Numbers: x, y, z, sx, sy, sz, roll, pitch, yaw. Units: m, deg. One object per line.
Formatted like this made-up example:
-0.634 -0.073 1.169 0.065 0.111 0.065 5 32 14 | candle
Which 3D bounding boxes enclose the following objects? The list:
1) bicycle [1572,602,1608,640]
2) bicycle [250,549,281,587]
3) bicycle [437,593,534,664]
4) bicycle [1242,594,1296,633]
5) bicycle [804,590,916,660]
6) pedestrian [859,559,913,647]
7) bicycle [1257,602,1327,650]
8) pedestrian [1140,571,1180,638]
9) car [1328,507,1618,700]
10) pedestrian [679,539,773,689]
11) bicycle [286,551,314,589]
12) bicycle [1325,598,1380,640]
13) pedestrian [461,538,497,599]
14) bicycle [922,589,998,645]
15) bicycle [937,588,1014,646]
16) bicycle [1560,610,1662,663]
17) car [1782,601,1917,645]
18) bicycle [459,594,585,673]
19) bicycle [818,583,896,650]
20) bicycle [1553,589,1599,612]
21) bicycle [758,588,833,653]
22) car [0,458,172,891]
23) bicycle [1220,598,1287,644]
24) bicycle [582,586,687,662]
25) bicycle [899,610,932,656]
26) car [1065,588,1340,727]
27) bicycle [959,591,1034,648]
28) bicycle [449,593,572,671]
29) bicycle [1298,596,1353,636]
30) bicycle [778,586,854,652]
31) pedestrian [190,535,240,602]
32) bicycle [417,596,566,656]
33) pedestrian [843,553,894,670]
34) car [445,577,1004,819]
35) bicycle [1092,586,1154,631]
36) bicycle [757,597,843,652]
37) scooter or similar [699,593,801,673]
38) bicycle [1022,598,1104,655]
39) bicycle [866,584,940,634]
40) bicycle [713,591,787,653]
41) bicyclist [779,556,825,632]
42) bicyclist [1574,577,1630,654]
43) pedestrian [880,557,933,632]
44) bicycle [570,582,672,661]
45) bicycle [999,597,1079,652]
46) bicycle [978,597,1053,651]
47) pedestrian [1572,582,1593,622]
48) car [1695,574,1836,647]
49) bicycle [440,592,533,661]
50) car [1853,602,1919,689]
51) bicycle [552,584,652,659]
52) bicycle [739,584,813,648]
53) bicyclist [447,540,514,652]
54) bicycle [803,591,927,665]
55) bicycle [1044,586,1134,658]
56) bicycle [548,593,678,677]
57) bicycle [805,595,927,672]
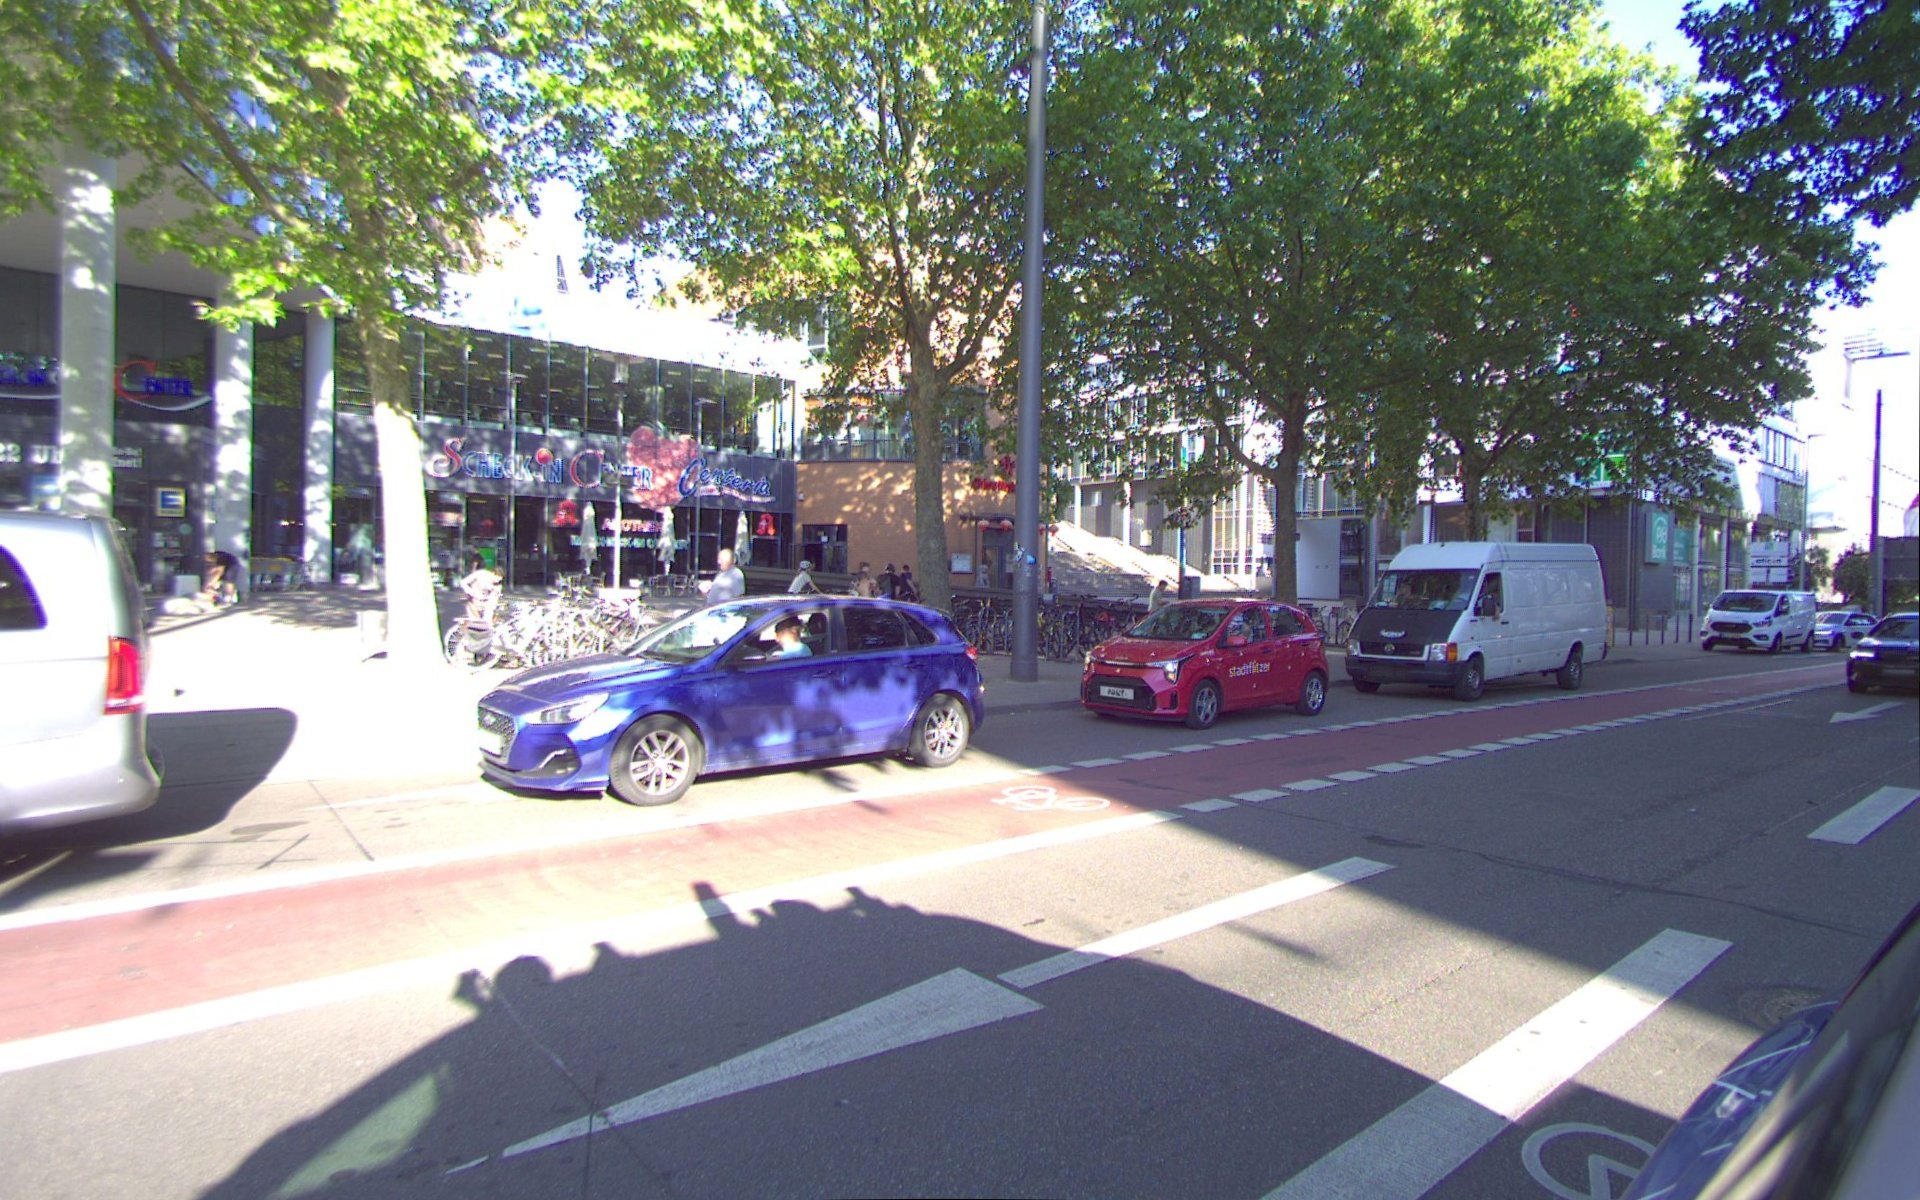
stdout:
20.413 0.670 32.788 1.511 1.173 0.514 0 1 -39 | bicycle
-21.717 -0.994 31.670 0.705 1.142 1.921 1 1 -32 | bicycle
-7.169 0.423 15.323 1.293 1.038 0.397 1 1 -24 | bicycle
8.732 0.379 28.547 1.624 1.060 0.597 0 1 -37 | bicycle
-1.692 0.422 17.022 1.788 1.130 0.598 1 1 -13 | bicycle
-1.530 0.044 20.884 0.756 1.779 0.820 1 1 -35 | pedestrian
7.638 0.581 23.255 1.622 1.060 0.598 0 1 -32 | bicycle
5.021 0.111 25.426 0.623 1.651 0.719 1 1 -34 | pedestrian
8.966 0.050 17.330 6.443 2.759 1.998 0 0 -39 | car
-2.974 0.153 12.833 0.872 1.808 0.796 2 1 44 | pedestrian
-20.963 -0.961 32.184 0.705 1.142 1.921 1 1 -32 | bicycle
10.480 0.500 27.008 1.624 1.060 0.597 0 1 -37 | bicycle
-15.216 -0.986 32.012 0.834 1.867 1.002 1 1 -15 | pedestrian
0.010 0.353 21.789 1.662 1.174 0.479 0 1 -37 | bicycle
0.340 0.354 21.342 1.662 1.174 0.479 0 1 -37 | bicycle
14.903 0.836 23.170 2.083 1.135 0.552 1 1 -8 | bicycle
31.422 0.819 35.755 3.936 1.437 1.791 1 1 -18 | car
-6.080 0.443 14.105 1.546 1.038 0.461 0 1 -44 | bicycle
-1.859 0.280 18.393 0.478 1.174 1.455 2 1 41 | bicycle
32.076 0.017 52.703 0.687 1.076 1.879 0 2 -38 | bicycle
-3.073 0.368 19.020 0.420 1.174 1.455 2 1 41 | bicycle
-6.498 0.339 4.181 5.047 1.991 1.997 0 0 -41 | car
7.075 0.486 24.358 1.622 1.060 0.598 0 1 -32 | bicycle
-4.897 0.347 15.280 1.451 1.095 0.421 0 1 -42 | bicycle
-0.812 0.587 18.330 0.391 0.770 1.114 1 1 -13 | bicycle
3.102 0.612 12.612 3.558 1.482 1.561 0 1 -41 | car
0.769 0.390 21.083 1.626 1.151 0.503 0 1 -41 | bicycle
-6.410 0.432 14.483 1.546 1.038 0.461 0 1 -44 | bicycle
10.051 0.432 27.805 1.624 1.060 0.597 0 1 -37 | bicycle
-2.649 0.329 18.740 0.420 1.174 1.455 2 1 41 | bicycle
-19.075 -0.795 25.914 0.951 1.661 0.865 0 1 -41 | pedestrian
-7.692 0.424 16.706 2.138 0.945 0.669 1 1 -13 | bicycle
-1.456 0.171 16.009 0.644 1.808 0.810 1 1 -14 | pedestrian
-1.755 0.593 8.337 4.143 1.482 1.768 0 2 -41 | car
4.342 0.215 26.900 1.622 1.140 0.598 0 1 -32 | bicycle
-3.486 0.524 22.125 1.743 1.140 0.568 0 1 -31 | bicycle
-3.229 0.496 15.568 1.249 1.156 0.905 -2 0 37 | scooter or similar
2.005 0.487 19.571 1.626 1.044 0.596 0 1 -41 | bicycle
-1.391 0.207 24.759 1.735 1.174 0.579 0 1 -34 | bicycle
-4.107 0.410 19.849 0.420 1.174 1.455 2 1 41 | bicycle
-3.452 -0.140 22.124 0.805 1.636 0.564 1 1 -30 | bicyclist
14.680 0.351 23.158 0.700 1.709 0.754 1 1 -9 | bicyclist
-1.317 -0.141 24.776 1.000 1.779 0.789 1 1 -35 | pedestrian
-5.297 0.318 15.850 1.451 1.174 0.421 0 1 -42 | bicycle
1.579 0.467 20.089 1.626 1.044 0.596 0 1 -41 | bicycle
1.137 0.463 20.622 1.626 1.044 0.503 0 1 -41 | bicycle
27.154 0.084 44.161 0.532 1.697 0.720 1 1 13 | pedestrian
26.022 0.290 32.634 5.189 2.160 2.130 0 1 -35 | car
-7.374 0.402 15.796 1.293 1.038 0.397 1 1 -24 | bicycle
17.595 0.761 18.081 4.268 1.443 1.826 0 0 -40 | car
-5.780 0.332 16.380 1.450 1.174 0.421 0 1 -40 | bicycle
-3.523 0.292 19.441 0.420 1.174 1.455 2 1 41 | bicycle
-7.879 -0.071 16.661 0.834 1.789 0.754 1 1 -13 | bicyclist
-1.541 0.447 16.310 1.908 1.130 0.598 1 1 -13 | bicycle
2.446 0.398 19.084 1.843 1.280 0.596 0 1 -41 | bicycle
-4.692 0.450 13.698 1.542 1.070 0.630 0 1 -35 | bicycle
-1.458 0.518 15.639 1.788 1.130 0.598 1 1 -13 | bicycle
